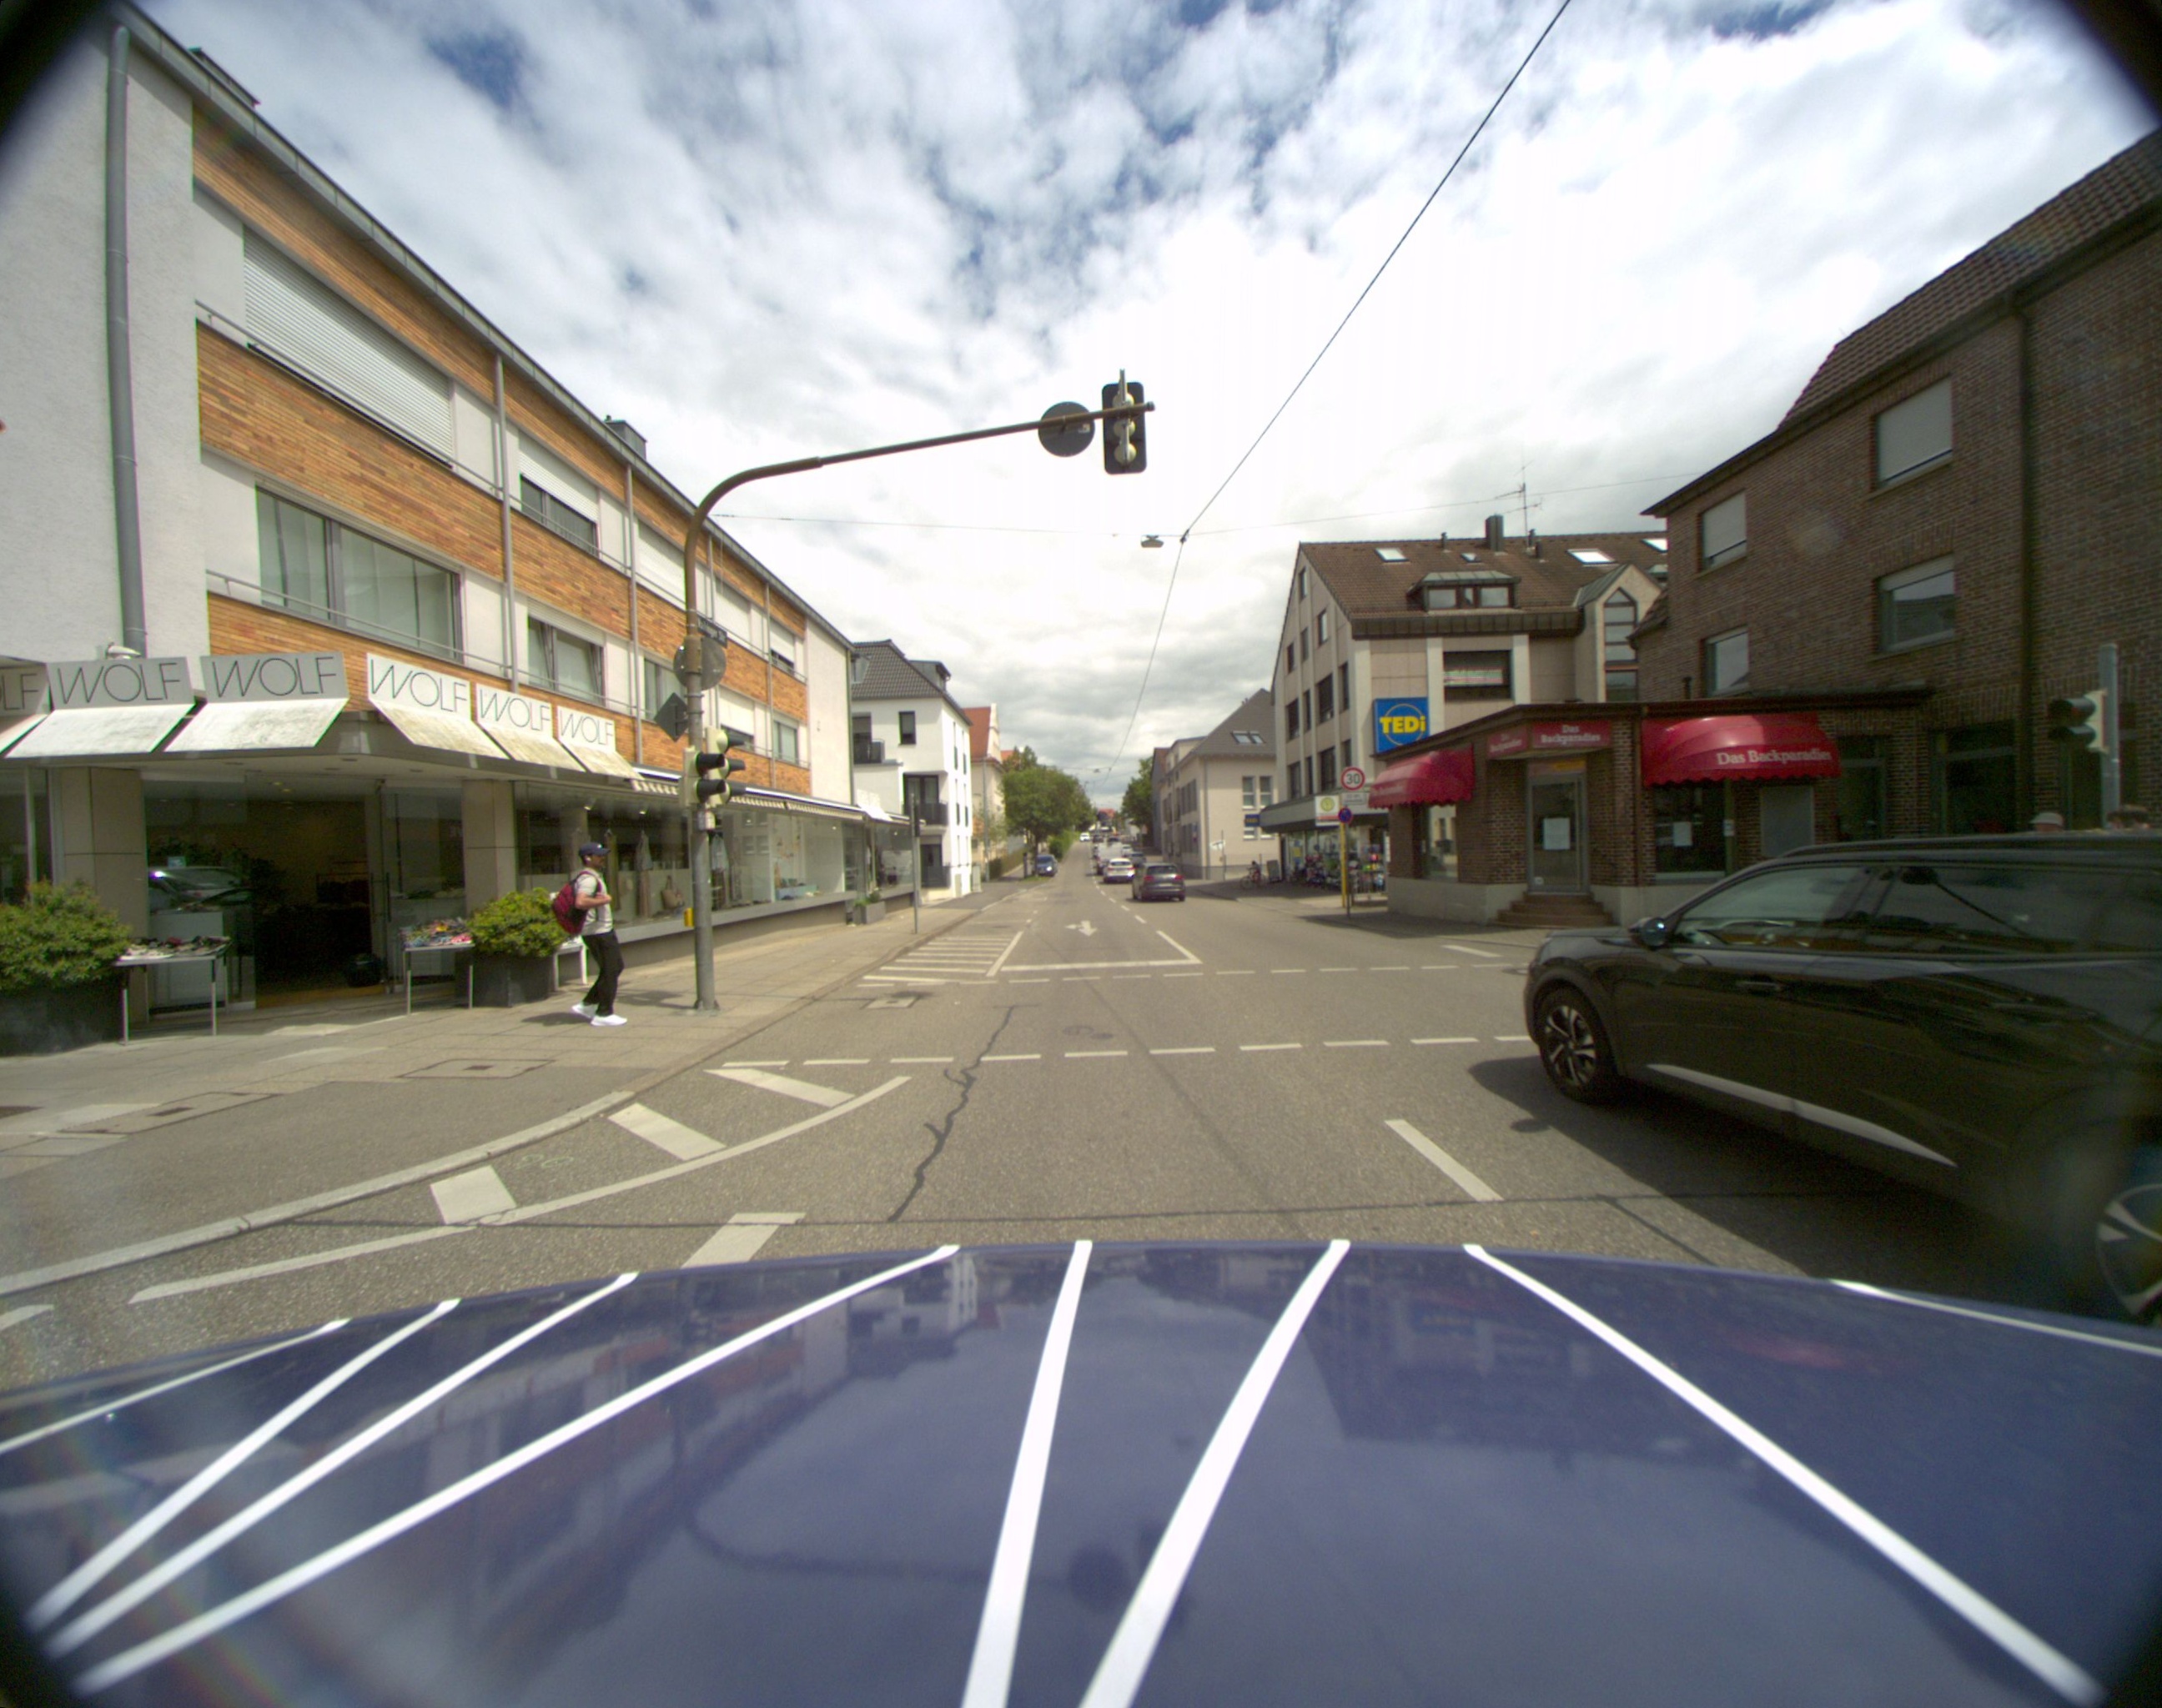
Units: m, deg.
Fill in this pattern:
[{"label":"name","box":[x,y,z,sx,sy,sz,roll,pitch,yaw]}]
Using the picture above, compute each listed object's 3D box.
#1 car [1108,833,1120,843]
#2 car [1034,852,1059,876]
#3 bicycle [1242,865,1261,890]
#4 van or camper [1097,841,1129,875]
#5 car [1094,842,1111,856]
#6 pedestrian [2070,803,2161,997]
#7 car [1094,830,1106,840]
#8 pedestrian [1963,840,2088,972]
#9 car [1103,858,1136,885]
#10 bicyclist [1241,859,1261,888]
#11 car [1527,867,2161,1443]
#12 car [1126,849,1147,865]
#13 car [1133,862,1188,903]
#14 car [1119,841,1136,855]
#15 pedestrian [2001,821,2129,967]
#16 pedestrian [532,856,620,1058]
[{"label":"car","box":[5.344,-2.588,122.973,1.673,1.545,3.963,-1,3,0]},{"label":"car","box":[-2.761,0.813,61.379,1.698,1.733,4.158,-2,1,0]},{"label":"bicycle","box":[8.199,1.112,36.512,0.444,1.044,1.734,-5,2,0]},{"label":"van or camper","box":[2.540,0.327,61.256,2.154,2.541,5.437,-1,-1,-1]},{"label":"car","box":[2.508,-0.592,88.611,1.780,1.603,4.118,-1,1,-2]},{"label":"pedestrian","box":[10.311,0.412,7.321,0.627,1.786,0.720,-3,2,-2]},{"label":"car","box":[3.559,-3.613,141.874,1.946,1.709,4.597,-1,0,-1]},{"label":"pedestrian","box":[11.108,0.582,8.964,0.525,1.477,0.761,-3,2,-2]},{"label":"car","box":[2.460,1.104,49.468,1.785,1.630,4.219,0,1,-1]},{"label":"bicyclist","box":[8.177,0.924,36.591,0.669,1.330,0.761,-5,2,0]},{"label":"car","box":[3.720,0.820,2.918,1.687,1.488,3.968,-1,-1,1]},{"label":"car","box":[5.213,0.278,71.821,1.665,1.322,3.472,-1,2,0]},{"label":"car","box":[3.278,1.138,32.011,1.794,1.580,4.100,-1,-1,-1]},{"label":"car","box":[5.435,-0.723,89.840,1.737,1.480,4.064,-1,3,0]},{"label":"pedestrian","box":[11.653,0.448,9.024,0.525,1.649,0.761,-3,2,-2]},{"label":"pedestrian","box":[-4.817,0.933,7.286,0.614,1.804,0.774,2,-1,-31]}]
